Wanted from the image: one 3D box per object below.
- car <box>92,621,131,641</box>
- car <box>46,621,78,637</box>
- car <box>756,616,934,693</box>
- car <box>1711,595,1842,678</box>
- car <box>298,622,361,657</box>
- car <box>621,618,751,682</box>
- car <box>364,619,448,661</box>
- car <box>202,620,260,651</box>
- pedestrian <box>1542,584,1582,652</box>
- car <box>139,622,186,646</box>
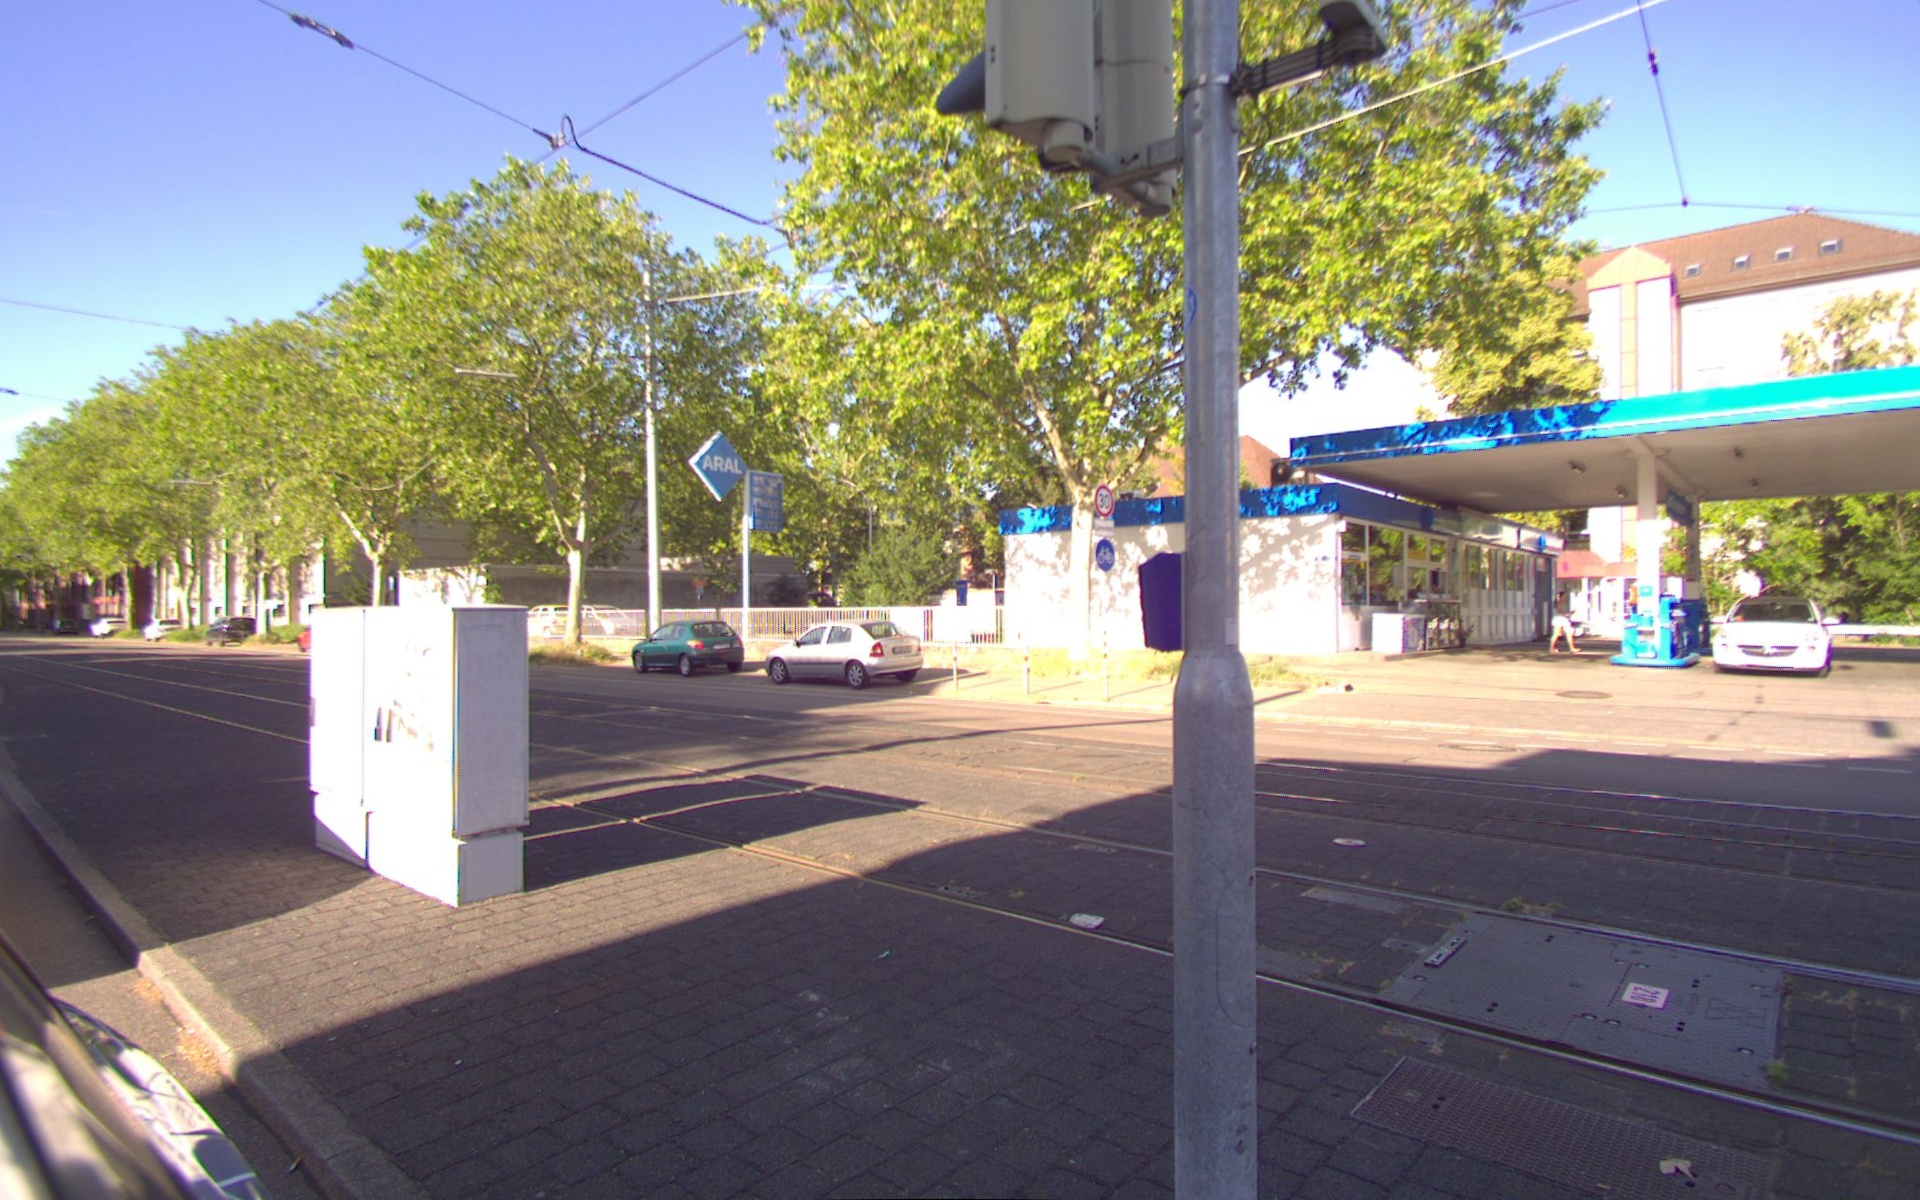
[{"bbox_3d":[-66.689,2.404,79.530,3.998,1.525,1.779,-1,-1,41],"label":"car"},{"bbox_3d":[-85.328,2.734,96.118,3.998,1.525,1.779,-1,-1,41],"label":"car"},{"bbox_3d":[-2.635,1.160,22.663,3.965,1.475,1.771,-1,2,43],"label":"car"},{"bbox_3d":[16.022,0.677,19.908,1.812,1.453,3.947,-1,-1,39],"label":"car"},{"bbox_3d":[-28.560,1.753,45.799,3.045,1.519,1.620,-1,-1,41],"label":"car"},{"bbox_3d":[-7.333,1.278,26.932,3.519,1.475,1.670,-1,2,43],"label":"car"},{"bbox_3d":[-21.946,1.553,40.052,3.652,1.541,1.802,-1,-1,41],"label":"car"},{"bbox_3d":[-40.759,1.955,56.591,3.998,1.674,1.779,-1,-1,41],"label":"car"},{"bbox_3d":[15.467,0.467,25.993,0.761,1.705,0.578,-2,-2,44],"label":"pedestrian"},{"bbox_3d":[-53.725,2.268,68.164,3.998,1.509,1.779,-1,-1,41],"label":"car"}]
